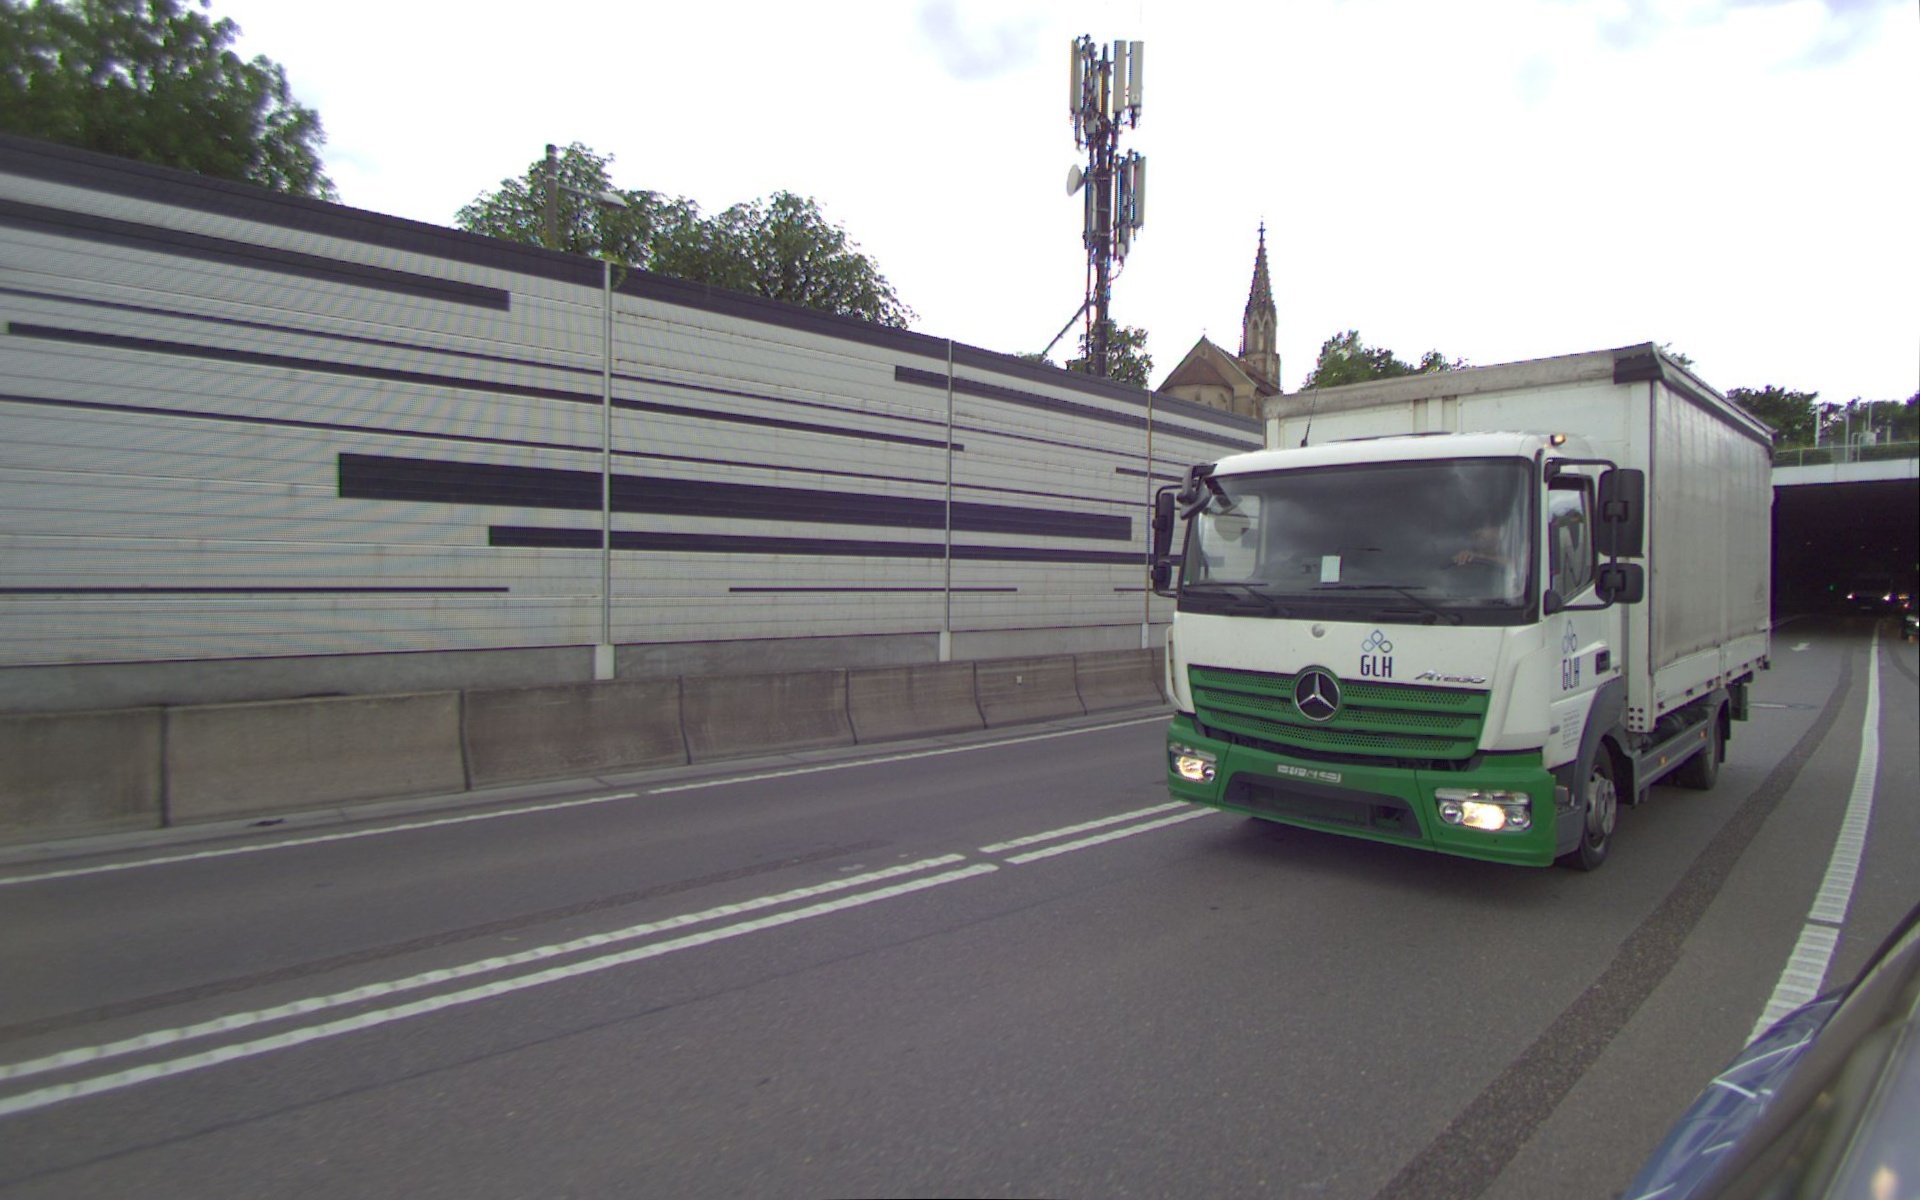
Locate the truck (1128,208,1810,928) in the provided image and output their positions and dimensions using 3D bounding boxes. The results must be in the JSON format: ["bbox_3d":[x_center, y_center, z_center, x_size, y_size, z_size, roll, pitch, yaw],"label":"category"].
[{"bbox_3d":[4.613,-0.216,8.123,7.294,3.279,2.632,-1,2,-44],"label":"truck"}]

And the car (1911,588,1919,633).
[{"bbox_3d":[33.798,0.353,34.531,3.933,1.482,1.719,-1,2,-43],"label":"car"}]

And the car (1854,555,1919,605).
[{"bbox_3d":[55.294,-1.226,60.217,7.229,2.802,2.556,-1,2,-44],"label":"car"}]
